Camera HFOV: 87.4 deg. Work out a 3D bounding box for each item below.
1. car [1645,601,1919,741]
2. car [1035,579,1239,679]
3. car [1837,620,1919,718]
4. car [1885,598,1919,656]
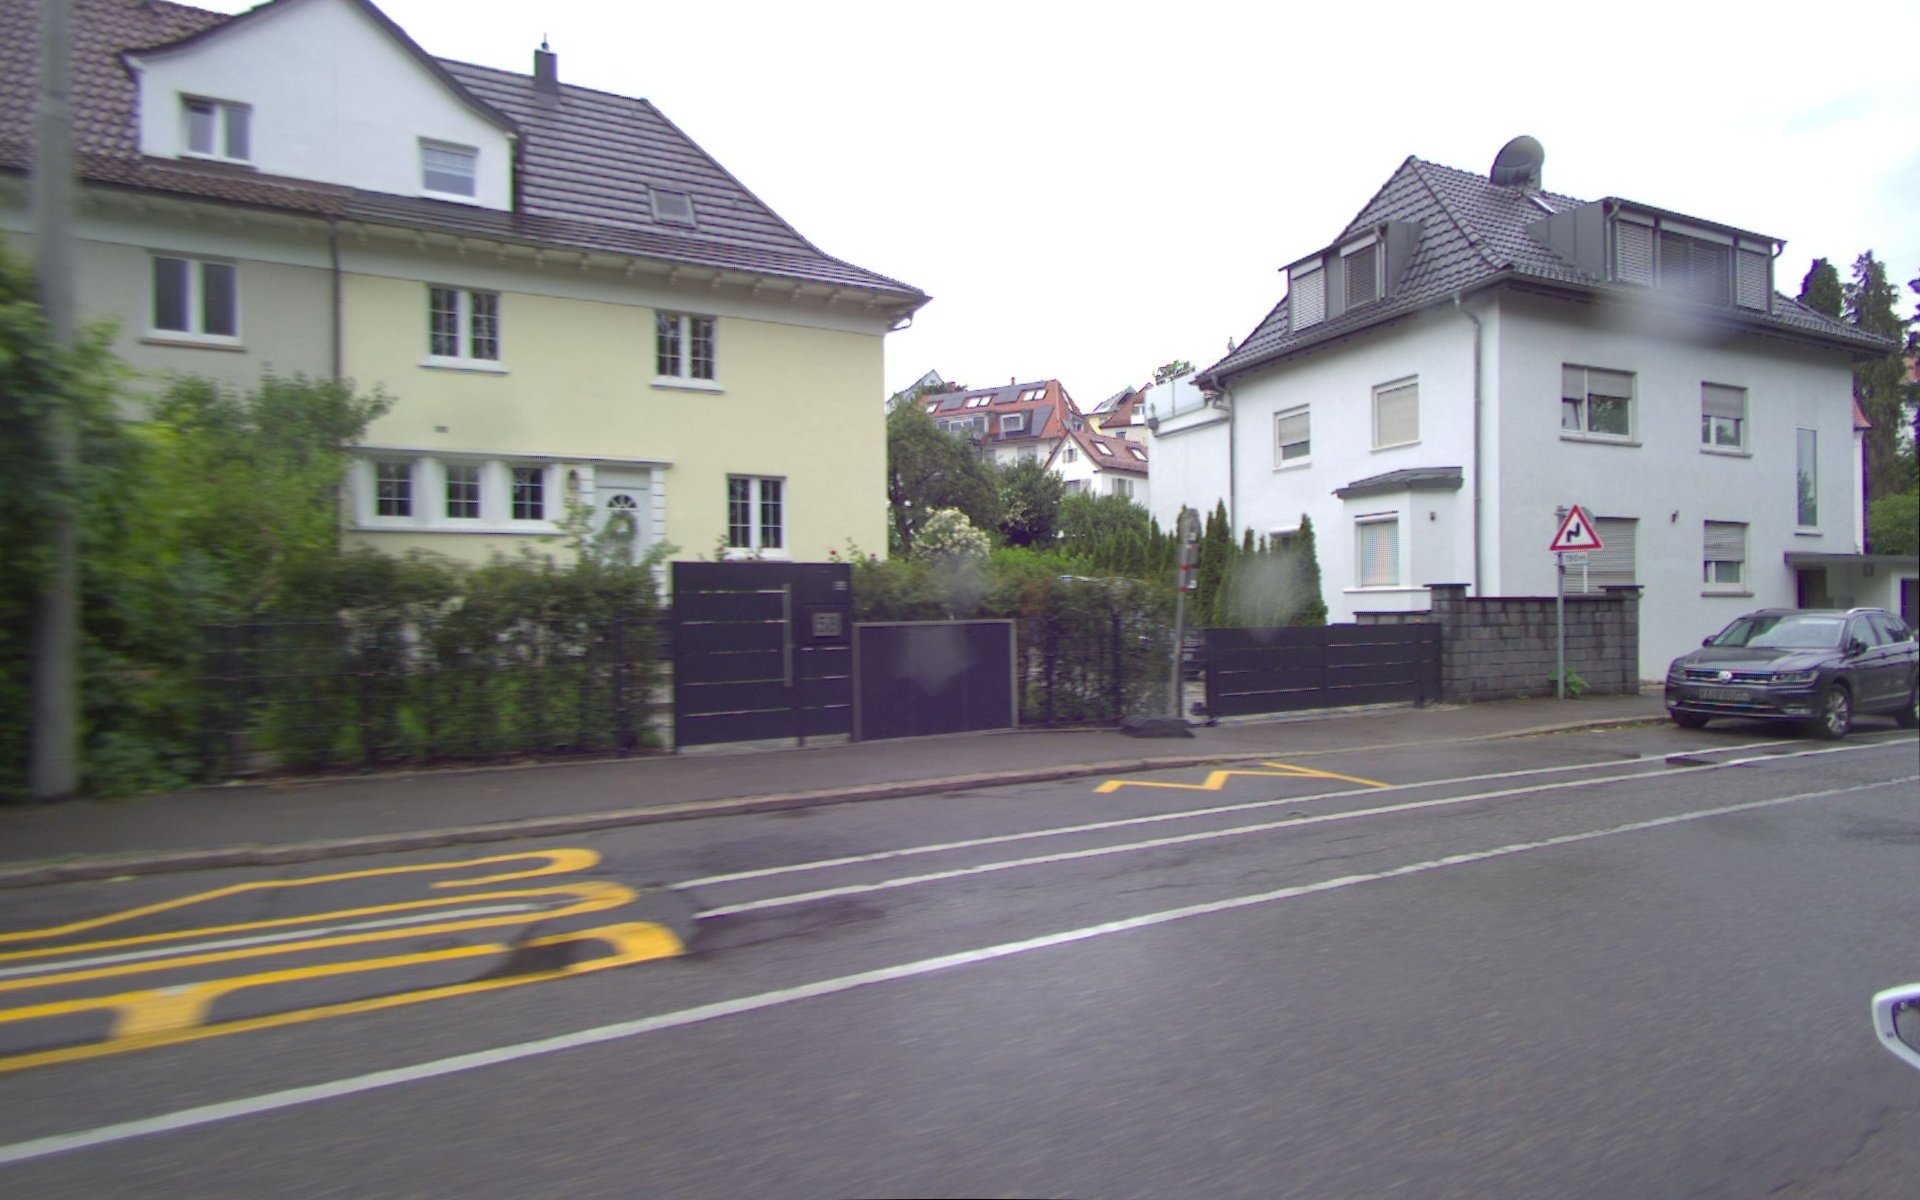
[{"bbox_3d":[11.619,0.899,13.926,4.352,1.680,1.747,0,-2,-30],"label":"car"},{"bbox_3d":[3.230,0.490,19.134,1.713,1.617,3.970,2,1,-28],"label":"car"},{"bbox_3d":[16.367,1.064,16.299,4.170,1.460,1.612,0,0,-24],"label":"car"},{"bbox_3d":[26.461,0.720,26.601,3.570,1.483,1.769,1,-1,-27],"label":"car"}]
